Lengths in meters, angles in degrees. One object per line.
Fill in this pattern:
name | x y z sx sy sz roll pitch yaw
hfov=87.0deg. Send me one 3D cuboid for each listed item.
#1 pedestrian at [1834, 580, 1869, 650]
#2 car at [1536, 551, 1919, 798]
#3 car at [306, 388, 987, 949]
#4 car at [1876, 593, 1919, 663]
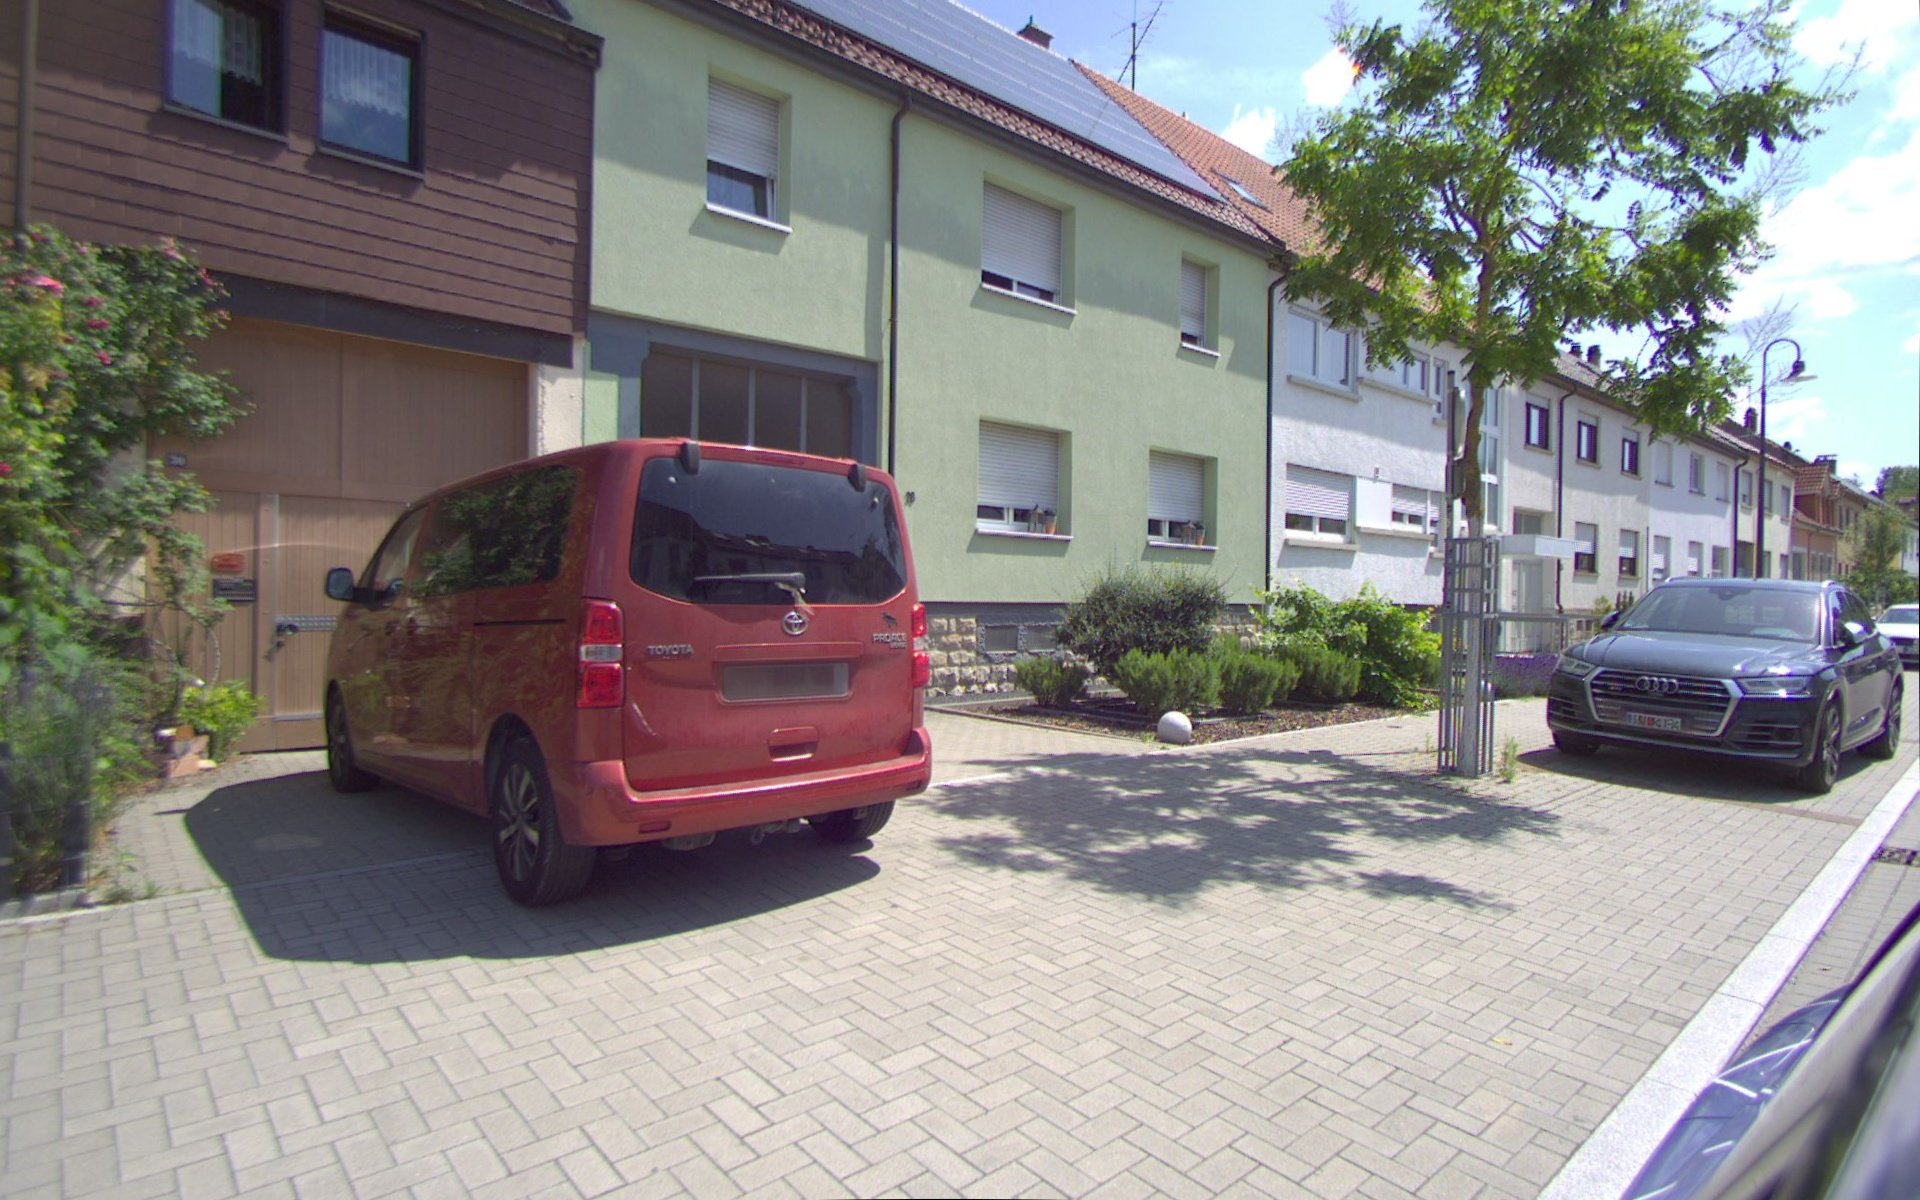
pedestrian | 22.878 0.374 25.973 0.661 1.770 0.558 -1 2 -41
car | 7.106 0.501 9.088 4.366 1.655 1.869 1 3 -40
car | -2.159 0.214 5.850 1.986 1.917 4.624 -1 1 -42
car | 22.004 0.590 22.718 4.445 1.484 1.834 0 1 -44
